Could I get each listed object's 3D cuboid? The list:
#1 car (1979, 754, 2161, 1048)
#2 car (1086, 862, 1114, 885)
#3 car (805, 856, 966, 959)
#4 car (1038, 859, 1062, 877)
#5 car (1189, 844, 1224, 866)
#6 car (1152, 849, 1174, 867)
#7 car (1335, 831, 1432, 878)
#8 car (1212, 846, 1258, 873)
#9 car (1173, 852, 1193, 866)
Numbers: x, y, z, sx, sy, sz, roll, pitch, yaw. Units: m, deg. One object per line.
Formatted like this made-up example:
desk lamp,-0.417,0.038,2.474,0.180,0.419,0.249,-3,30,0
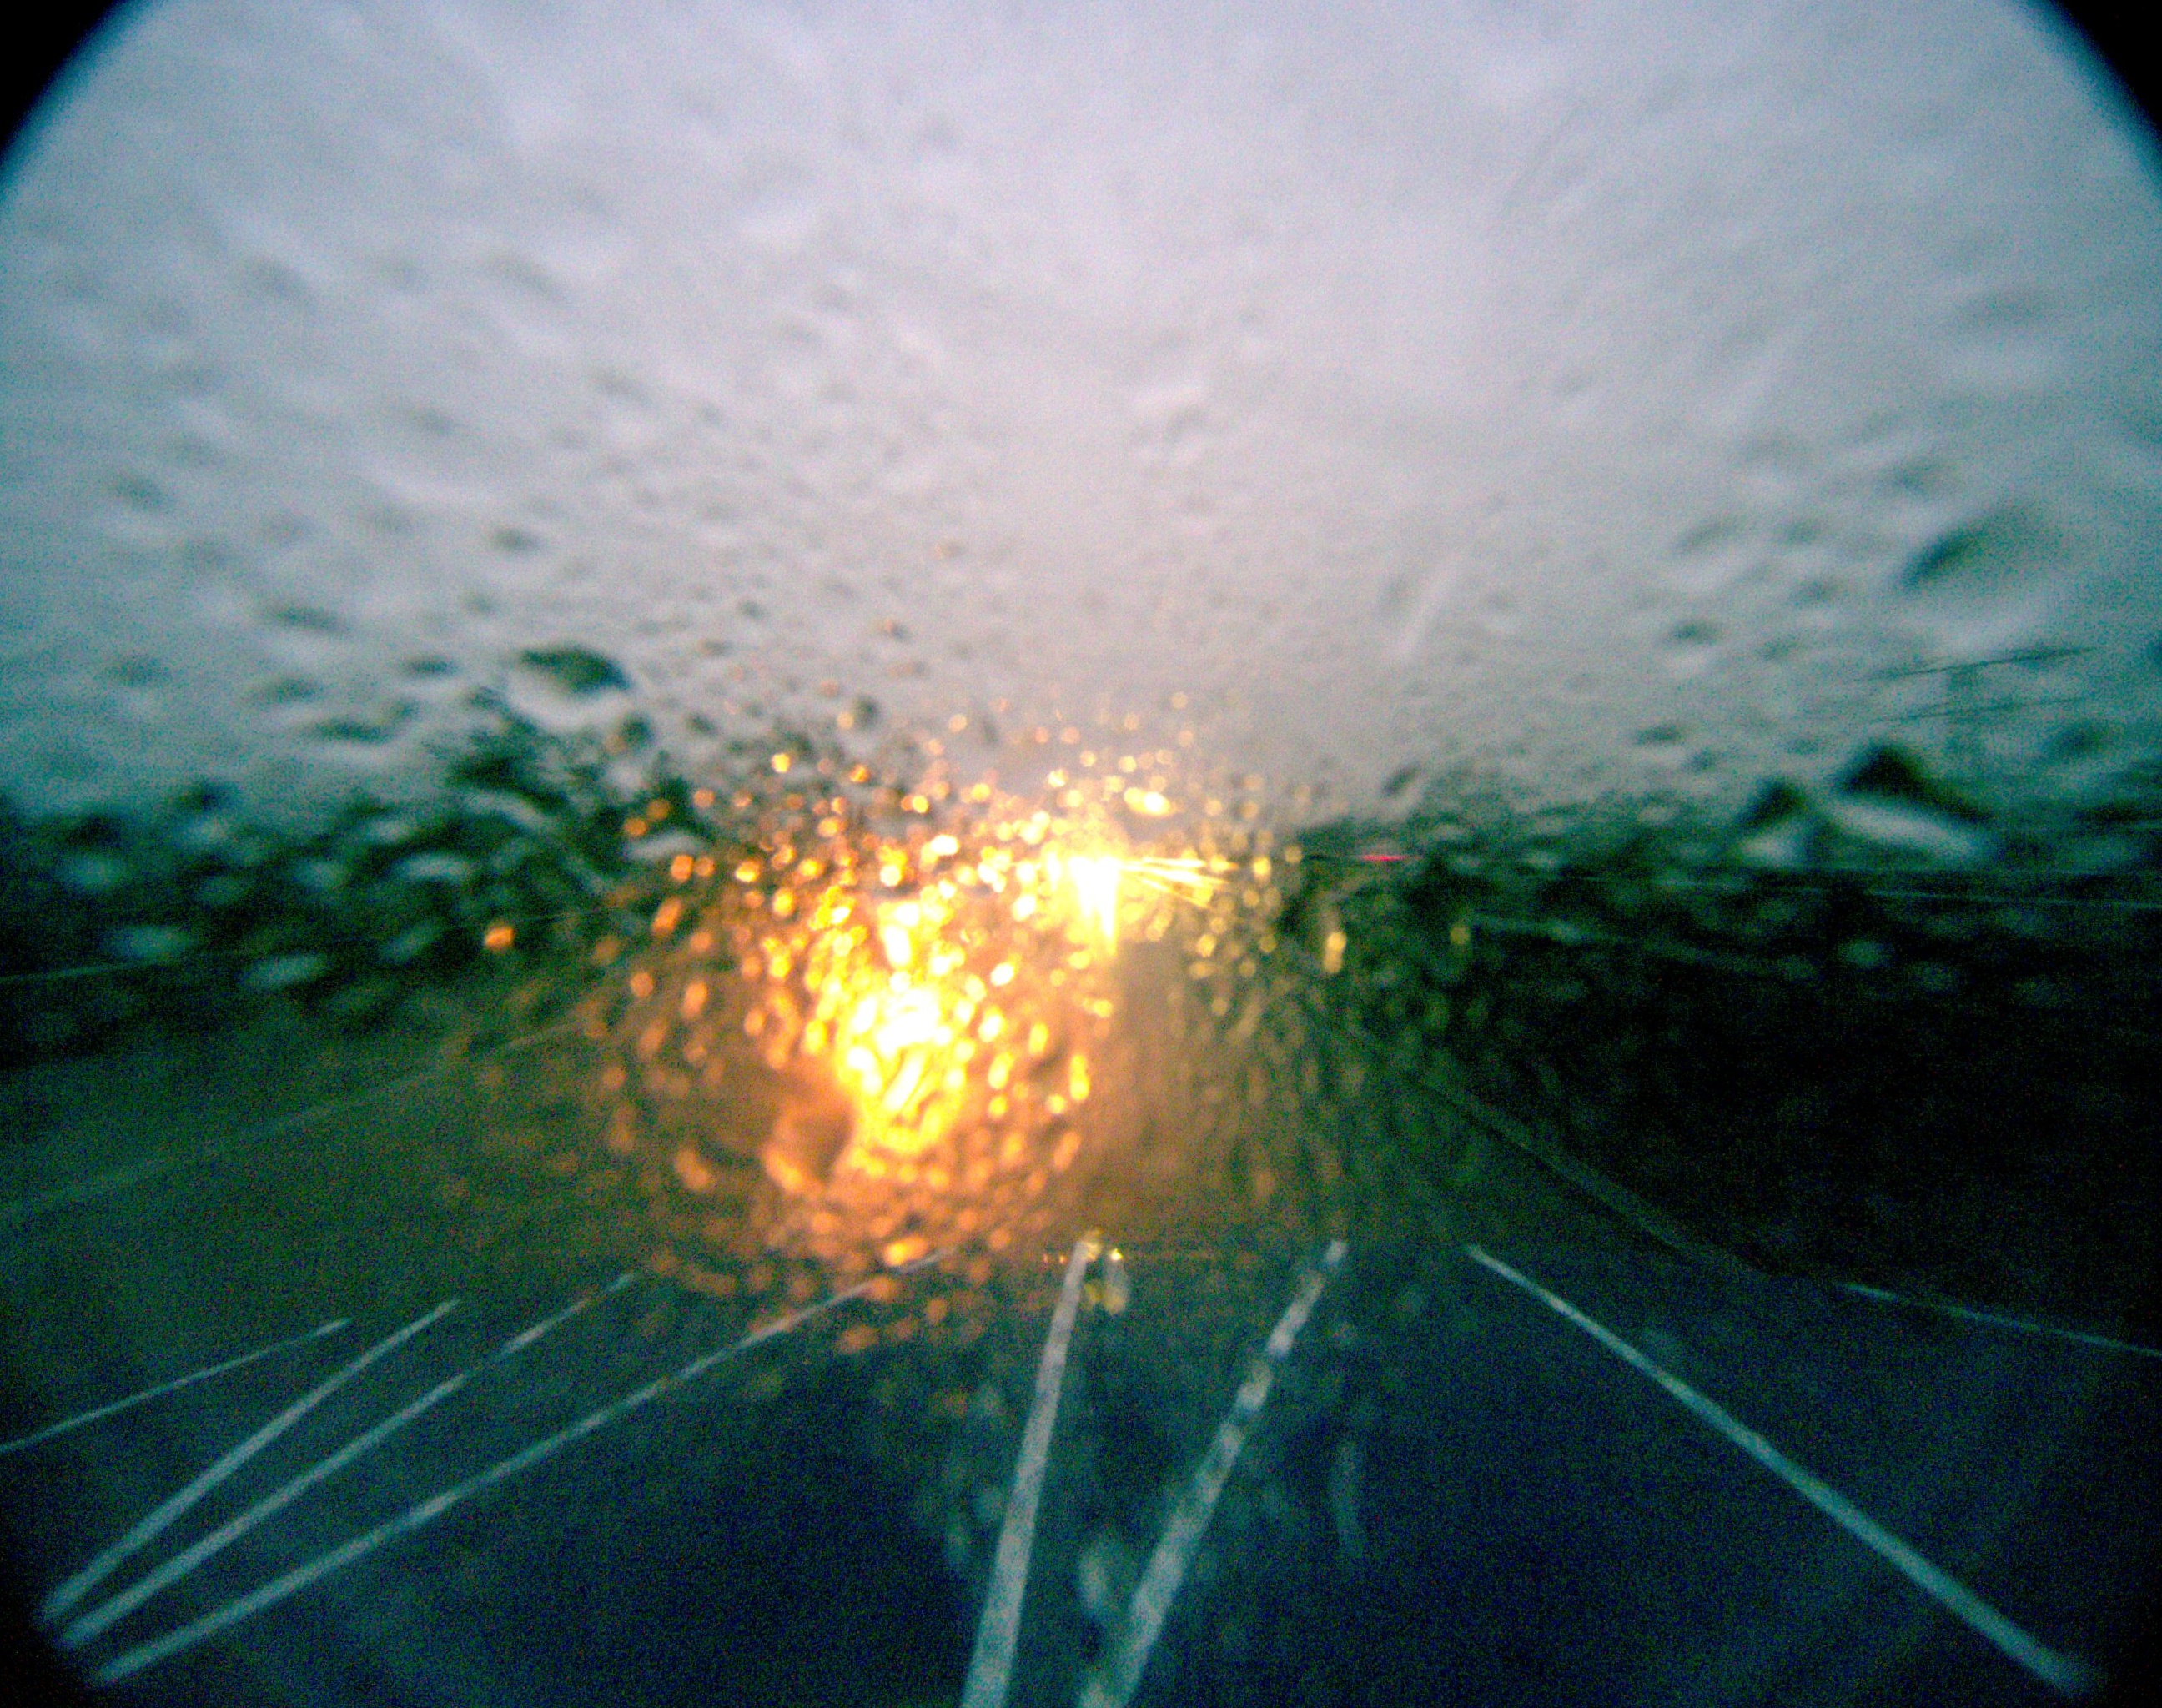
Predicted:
car,8.353,0.300,4.222,1.998,2.002,4.000,-2,0,1
car,1.380,1.374,54.282,1.850,1.520,4.150,-1,-1,2
car,-3.430,0.864,14.208,1.850,1.445,4.147,-3,1,0
car,-2.824,1.299,70.430,1.850,1.520,4.150,-1,-1,2
car,10.150,0.065,61.749,2.075,1.701,4.400,-2,0,1
car,9.854,0.482,91.449,2.075,2.102,4.762,-2,0,1
car,12.629,0.004,32.113,2.169,1.781,4.809,-2,0,1
car,9.373,0.305,46.554,1.998,1.501,4.000,-2,0,1
car,13.975,0.707,104.366,2.075,1.781,4.339,-2,0,1
